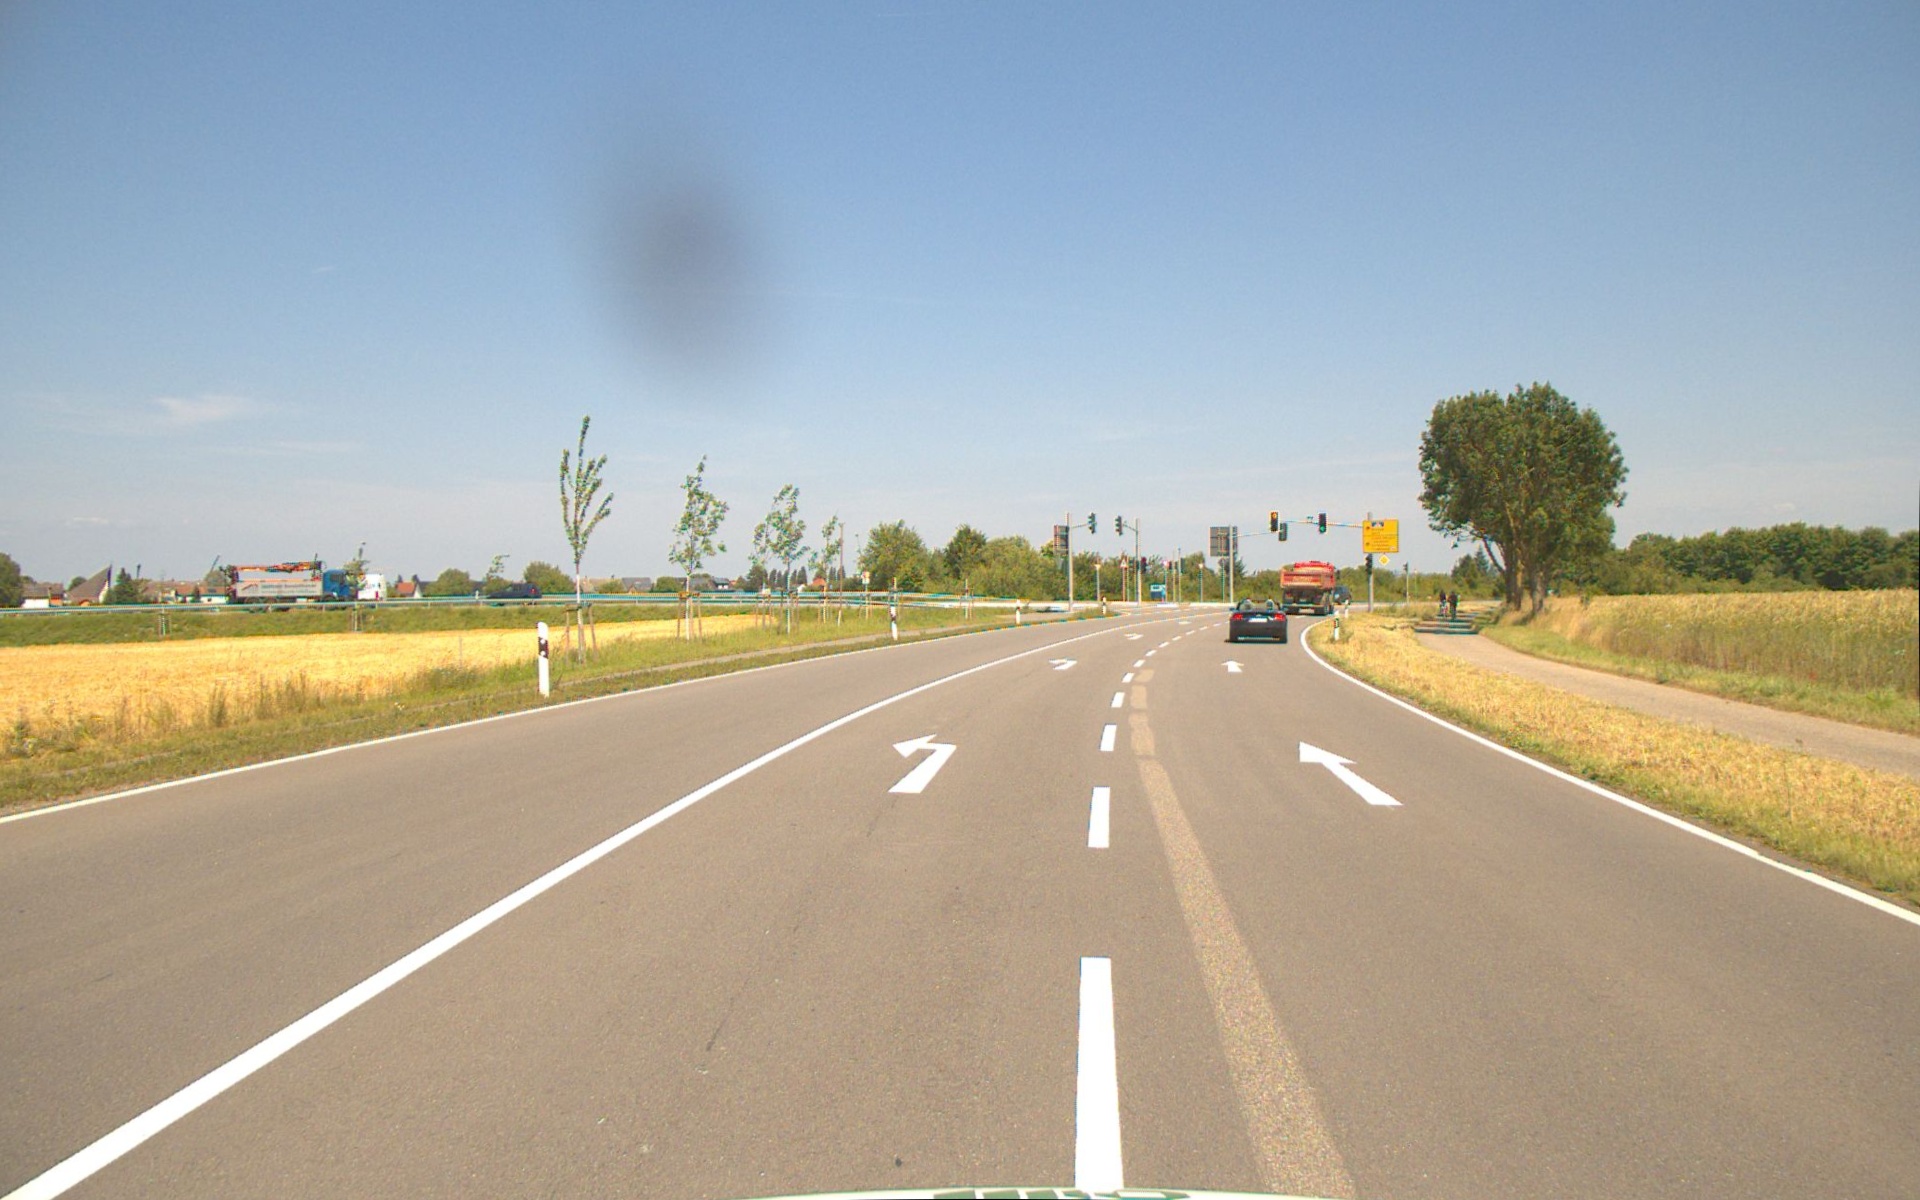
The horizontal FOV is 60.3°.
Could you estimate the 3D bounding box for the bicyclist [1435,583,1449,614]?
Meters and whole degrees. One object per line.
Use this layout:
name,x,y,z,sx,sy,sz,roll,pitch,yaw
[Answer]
bicyclist,28.680,-0.087,98.387,0.575,1.764,1.171,4,2,23

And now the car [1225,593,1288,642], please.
car,9.056,0.531,50.315,1.710,1.400,3.682,1,-1,13

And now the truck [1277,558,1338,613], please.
truck,20.719,-0.812,98.380,2.657,3.106,8.167,0,-1,18

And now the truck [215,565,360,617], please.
truck,-51.102,-0.698,125.897,9.877,3.859,2.625,0,0,-2

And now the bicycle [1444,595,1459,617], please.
bicycle,28.321,0.327,95.360,0.684,1.231,2.051,2,1,19

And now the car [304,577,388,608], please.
car,-48.359,-0.608,130.389,5.795,2.464,2.248,0,0,1

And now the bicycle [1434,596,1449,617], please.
bicycle,28.651,0.383,98.378,0.593,1.197,2.050,3,1,23

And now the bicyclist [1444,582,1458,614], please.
bicyclist,28.297,-0.134,95.276,0.615,1.813,0.978,4,2,21

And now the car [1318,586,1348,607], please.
car,32.960,-0.349,145.997,1.891,1.770,4.889,0,1,21
